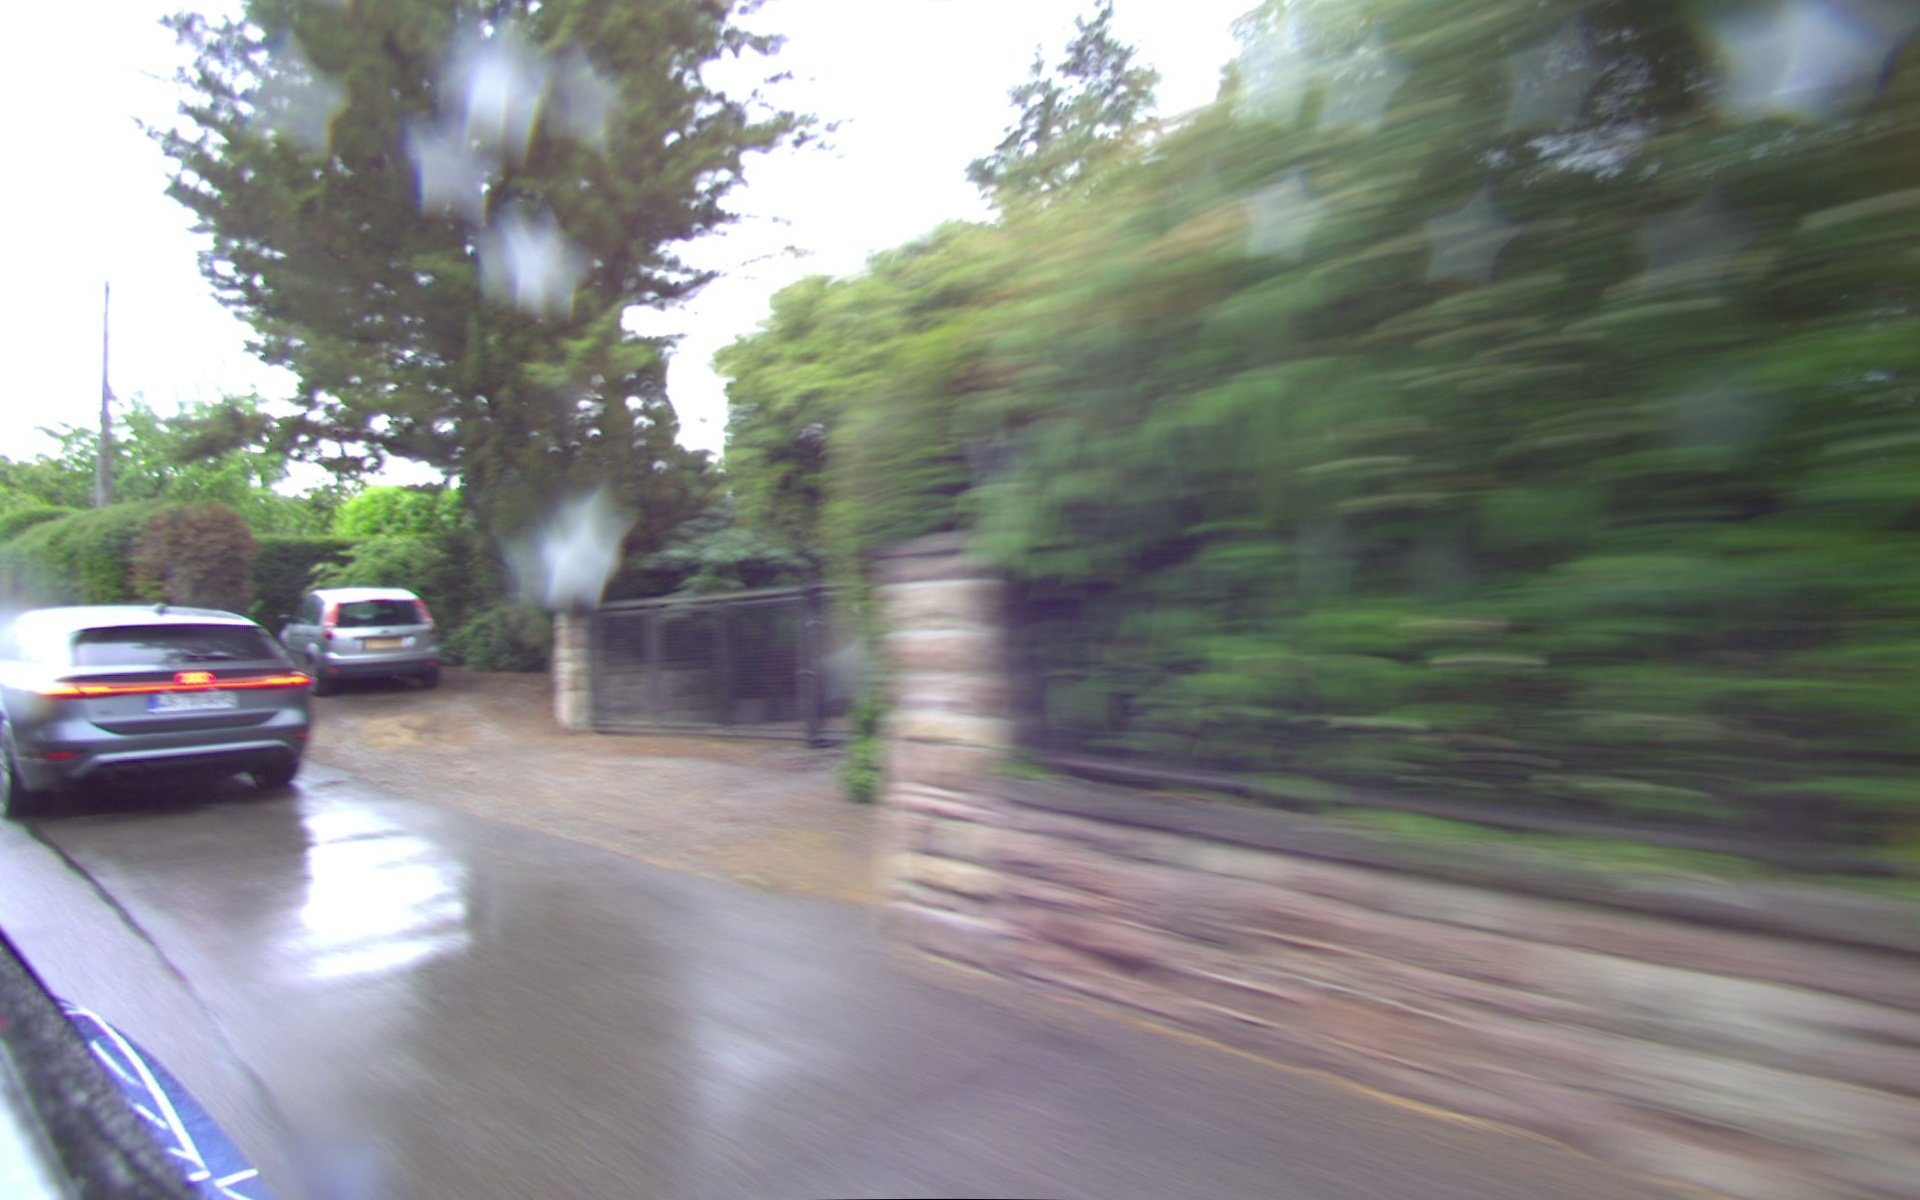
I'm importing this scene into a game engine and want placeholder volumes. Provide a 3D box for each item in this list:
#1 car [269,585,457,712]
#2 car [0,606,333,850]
[{"bbox_3d":[-9.250,0.625,15.560,1.763,1.537,3.662,-4,5,-42],"label":"car"},{"bbox_3d":[-7.218,0.829,8.556,4.415,1.535,1.871,0,0,38],"label":"car"}]
